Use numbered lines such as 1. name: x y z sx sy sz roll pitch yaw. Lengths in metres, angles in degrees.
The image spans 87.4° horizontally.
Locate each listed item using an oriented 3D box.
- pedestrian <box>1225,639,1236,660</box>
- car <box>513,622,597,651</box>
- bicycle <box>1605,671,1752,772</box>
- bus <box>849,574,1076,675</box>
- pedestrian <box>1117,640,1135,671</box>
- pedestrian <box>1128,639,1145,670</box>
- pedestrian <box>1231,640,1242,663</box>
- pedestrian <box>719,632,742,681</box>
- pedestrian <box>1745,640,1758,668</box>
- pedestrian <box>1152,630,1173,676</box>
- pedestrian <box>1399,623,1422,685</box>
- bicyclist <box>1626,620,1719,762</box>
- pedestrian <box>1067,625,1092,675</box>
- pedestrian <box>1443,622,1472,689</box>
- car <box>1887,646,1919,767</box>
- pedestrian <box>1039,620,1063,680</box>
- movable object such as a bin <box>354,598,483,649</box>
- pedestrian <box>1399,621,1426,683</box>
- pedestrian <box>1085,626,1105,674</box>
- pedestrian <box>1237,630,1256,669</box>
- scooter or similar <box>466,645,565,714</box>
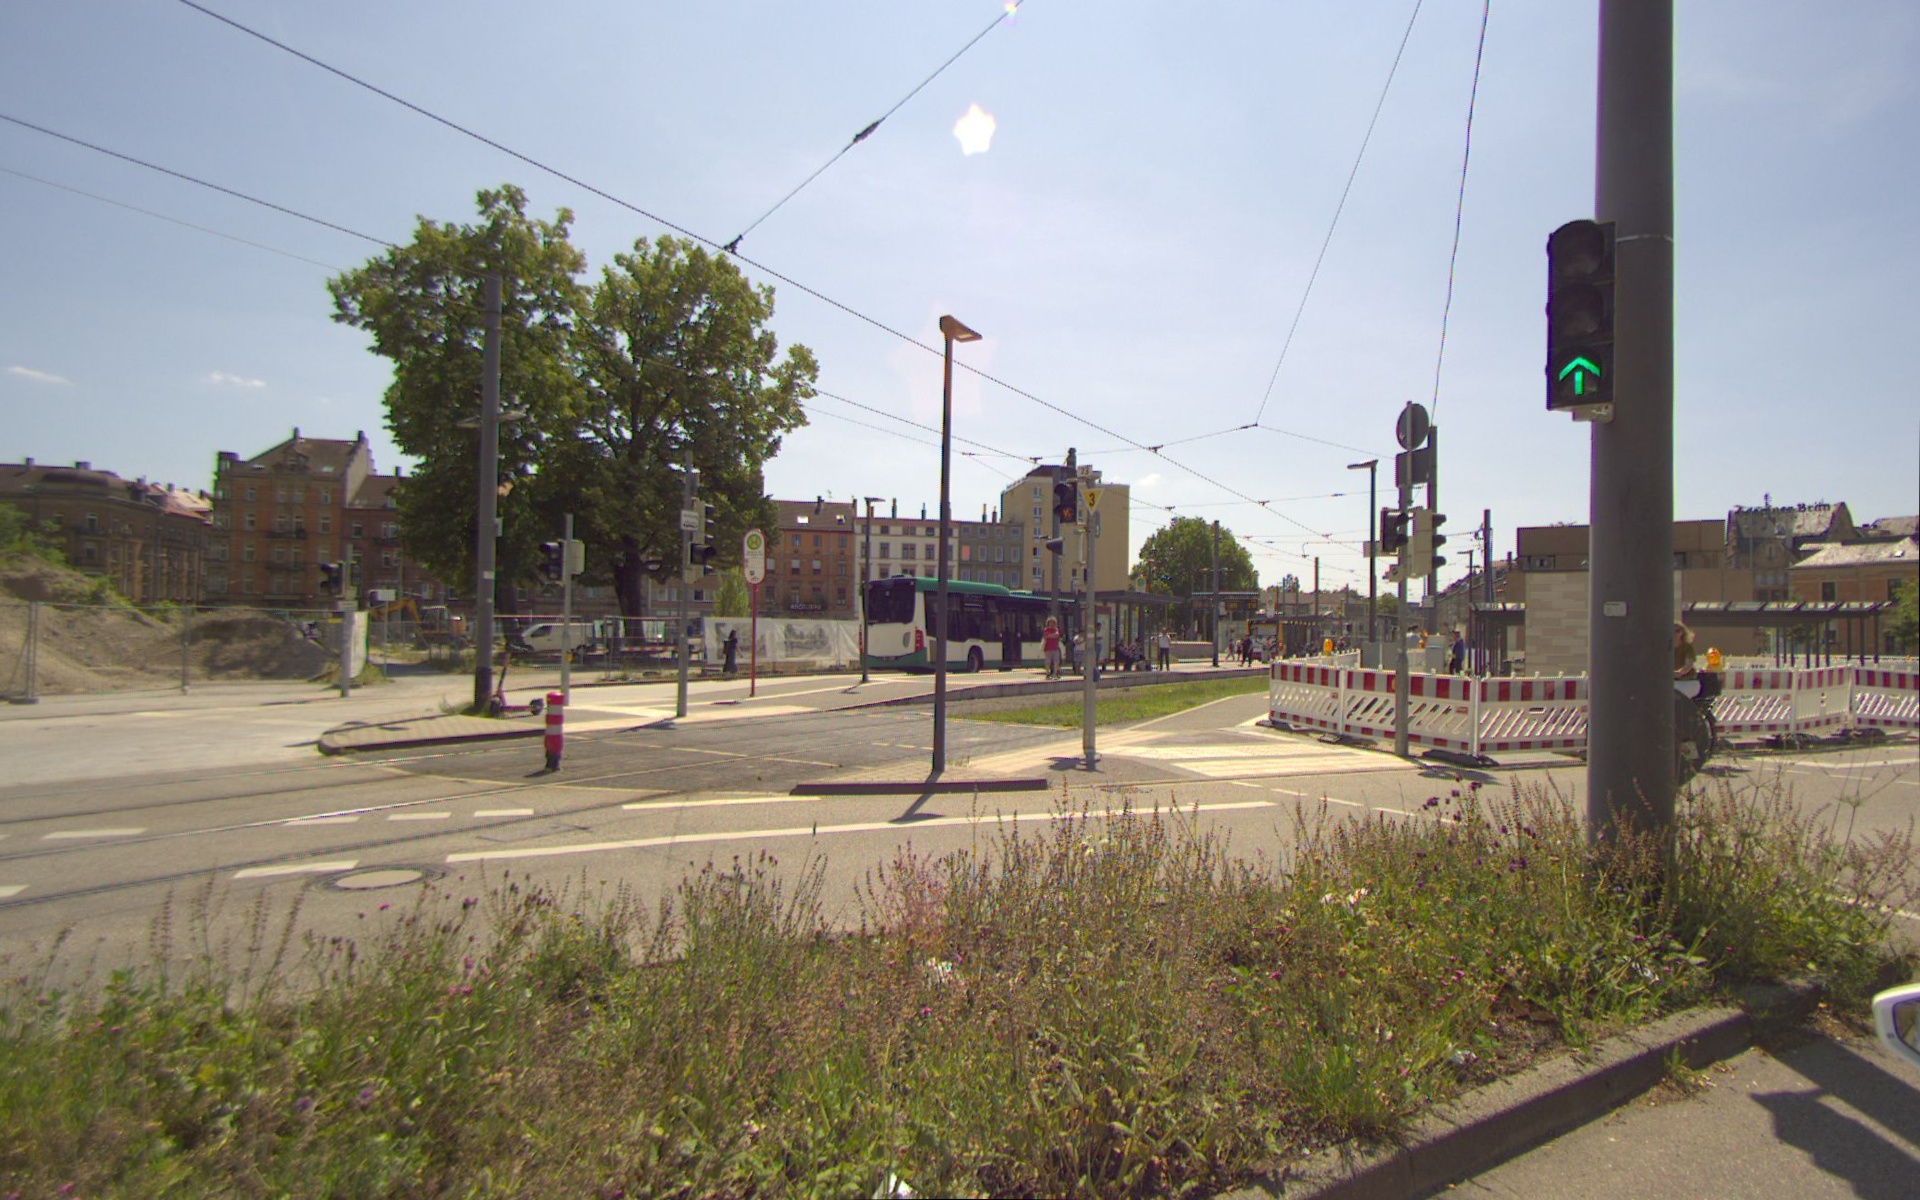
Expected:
1. pedestrian: 18.601 3.405 68.993 0.552 1.416 0.440 2 0 -30
2. car: -23.595 2.126 58.585 4.206 1.623 1.764 2 0 -38
3. bicycle: 8.905 1.466 12.432 1.983 1.165 0.586 2 -4 -27
4. bus: 0.508 0.832 36.082 2.807 3.094 10.575 2 0 33
5. pedestrian: 6.169 2.059 37.341 0.505 1.137 0.429 2 0 28
6. pedestrian: 6.728 2.070 38.289 0.505 1.137 0.429 2 0 28
7. pedestrian: 16.912 3.167 61.422 0.501 1.384 0.524 2 0 30
8. pedestrian: -7.446 1.829 32.569 0.540 1.562 0.481 2 0 13
9. pedestrian: 59.071 4.026 74.944 0.567 2.040 0.553 2 0 -25
10. pedestrian: 8.471 2.192 42.027 0.686 1.882 0.605 2 0 28
11. pedestrian: 13.136 1.566 29.292 0.530 1.779 0.659 2 0 22
12. bicyclist: 8.791 1.108 12.405 0.788 1.686 0.584 2 -4 -26
13. pedestrian: 4.047 1.684 34.011 0.615 1.677 0.546 2 0 28
14. pedestrian: 14.665 1.627 29.628 0.680 1.931 0.576 2 0 31
15. car: 13.761 1.293 12.440 4.367 1.447 1.811 1 -4 -25
16. pedestrian: 2.662 1.459 29.445 0.569 1.724 0.566 2 0 13
17. movable object such as a bin: -38.988 1.717 72.427 7.892 3.434 2.882 2 0 -34
18. pedestrian: 13.552 1.550 30.083 0.634 1.812 0.636 2 0 32
19. pedestrian: 4.731 1.740 35.215 0.527 1.642 0.520 2 0 28
20. pedestrian: 13.958 2.399 48.867 0.636 1.883 0.616 2 -1 -30
21. scooter or similar: -7.205 1.282 16.311 1.430 1.075 0.337 2 0 -29
